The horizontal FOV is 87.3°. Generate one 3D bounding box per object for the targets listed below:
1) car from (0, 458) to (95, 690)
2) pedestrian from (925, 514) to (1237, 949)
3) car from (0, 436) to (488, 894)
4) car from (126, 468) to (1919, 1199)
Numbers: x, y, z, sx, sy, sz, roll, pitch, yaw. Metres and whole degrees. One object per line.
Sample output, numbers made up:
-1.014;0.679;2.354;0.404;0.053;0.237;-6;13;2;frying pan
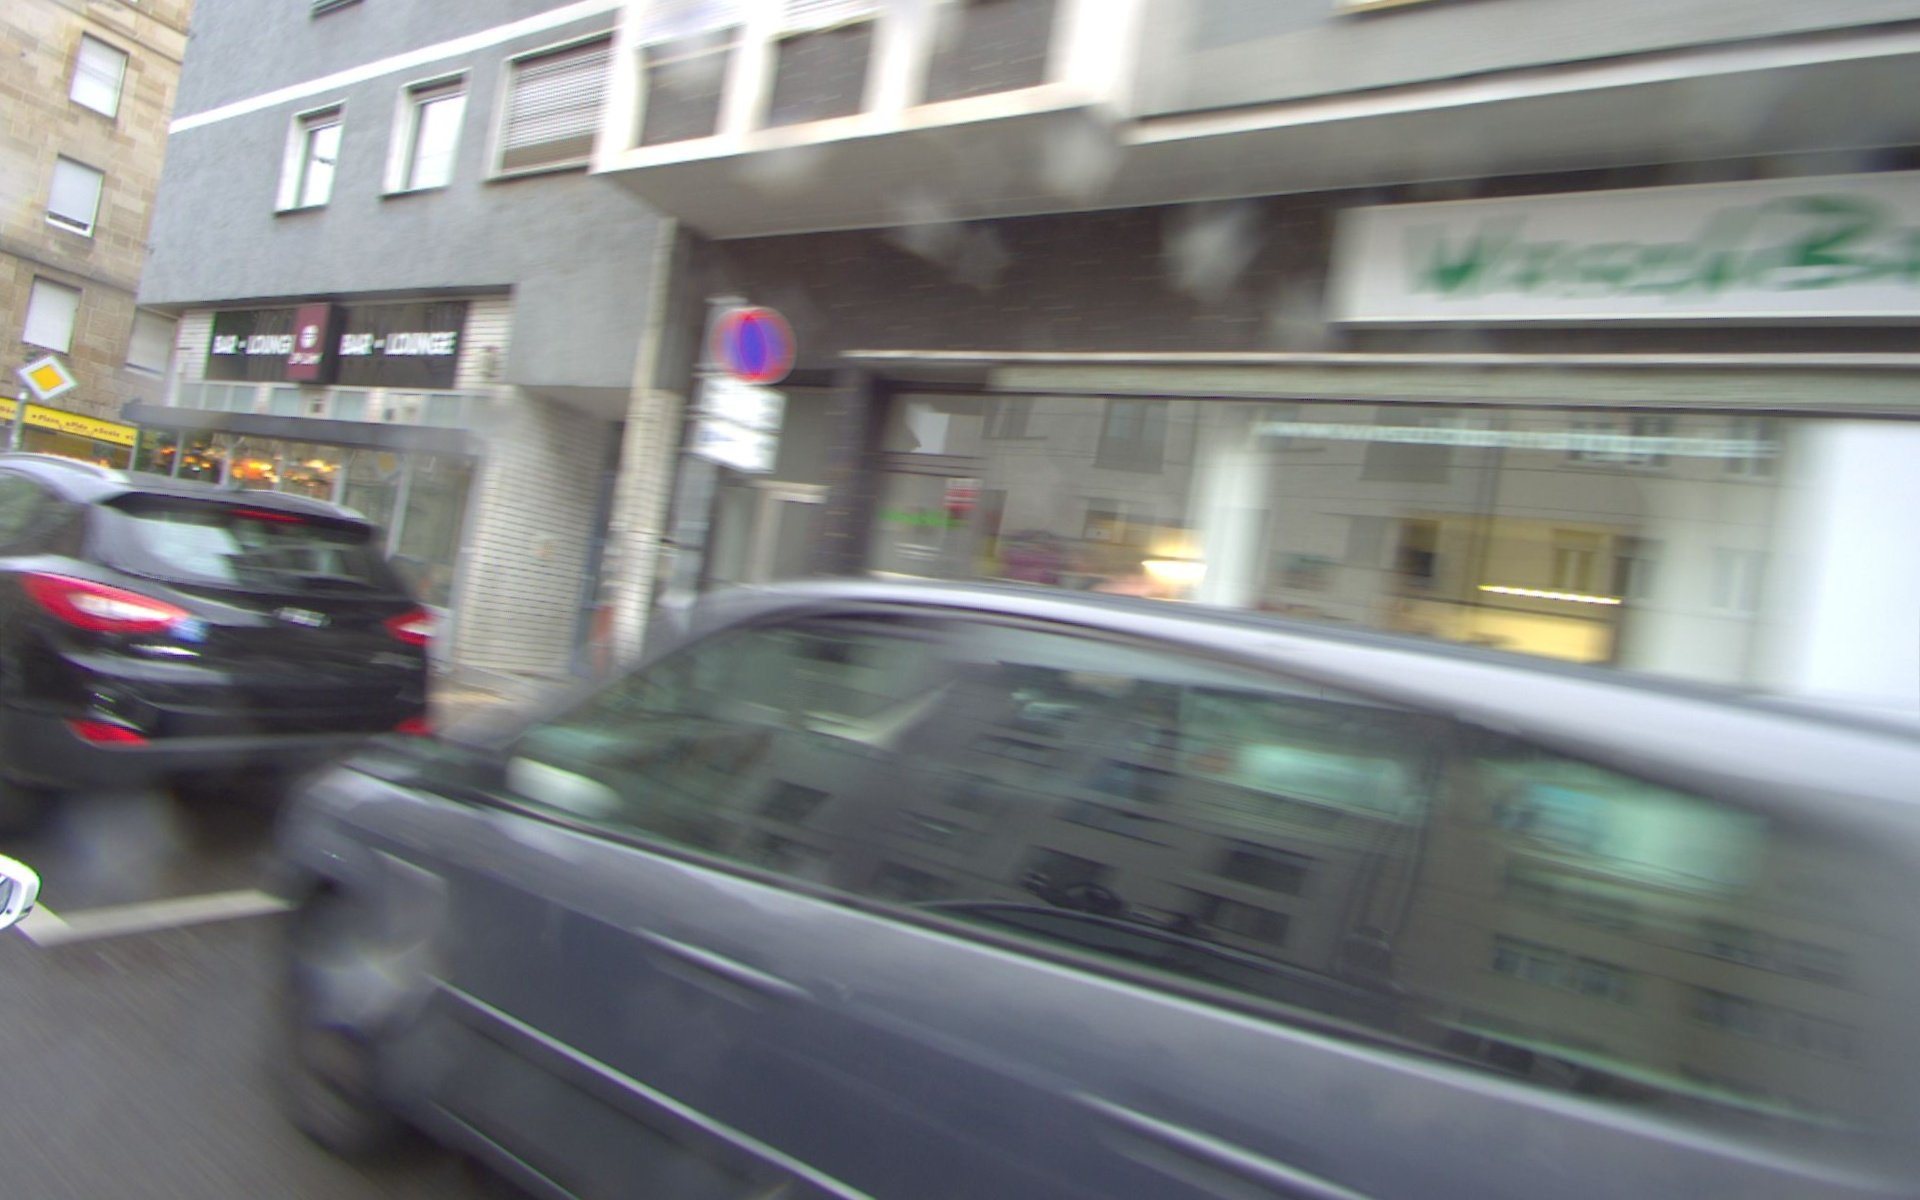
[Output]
-9.208;-0.479;8.285;4.626;1.689;1.753;7;-1;32;car
0.617;0.585;4.936;0.998;1.790;0.947;8;-1;30;pedestrian
-4.684;0.110;5.510;4.053;1.689;1.686;7;-1;31;car
0.140;0.745;2.372;4.667;1.577;1.769;7;-1;32;car
